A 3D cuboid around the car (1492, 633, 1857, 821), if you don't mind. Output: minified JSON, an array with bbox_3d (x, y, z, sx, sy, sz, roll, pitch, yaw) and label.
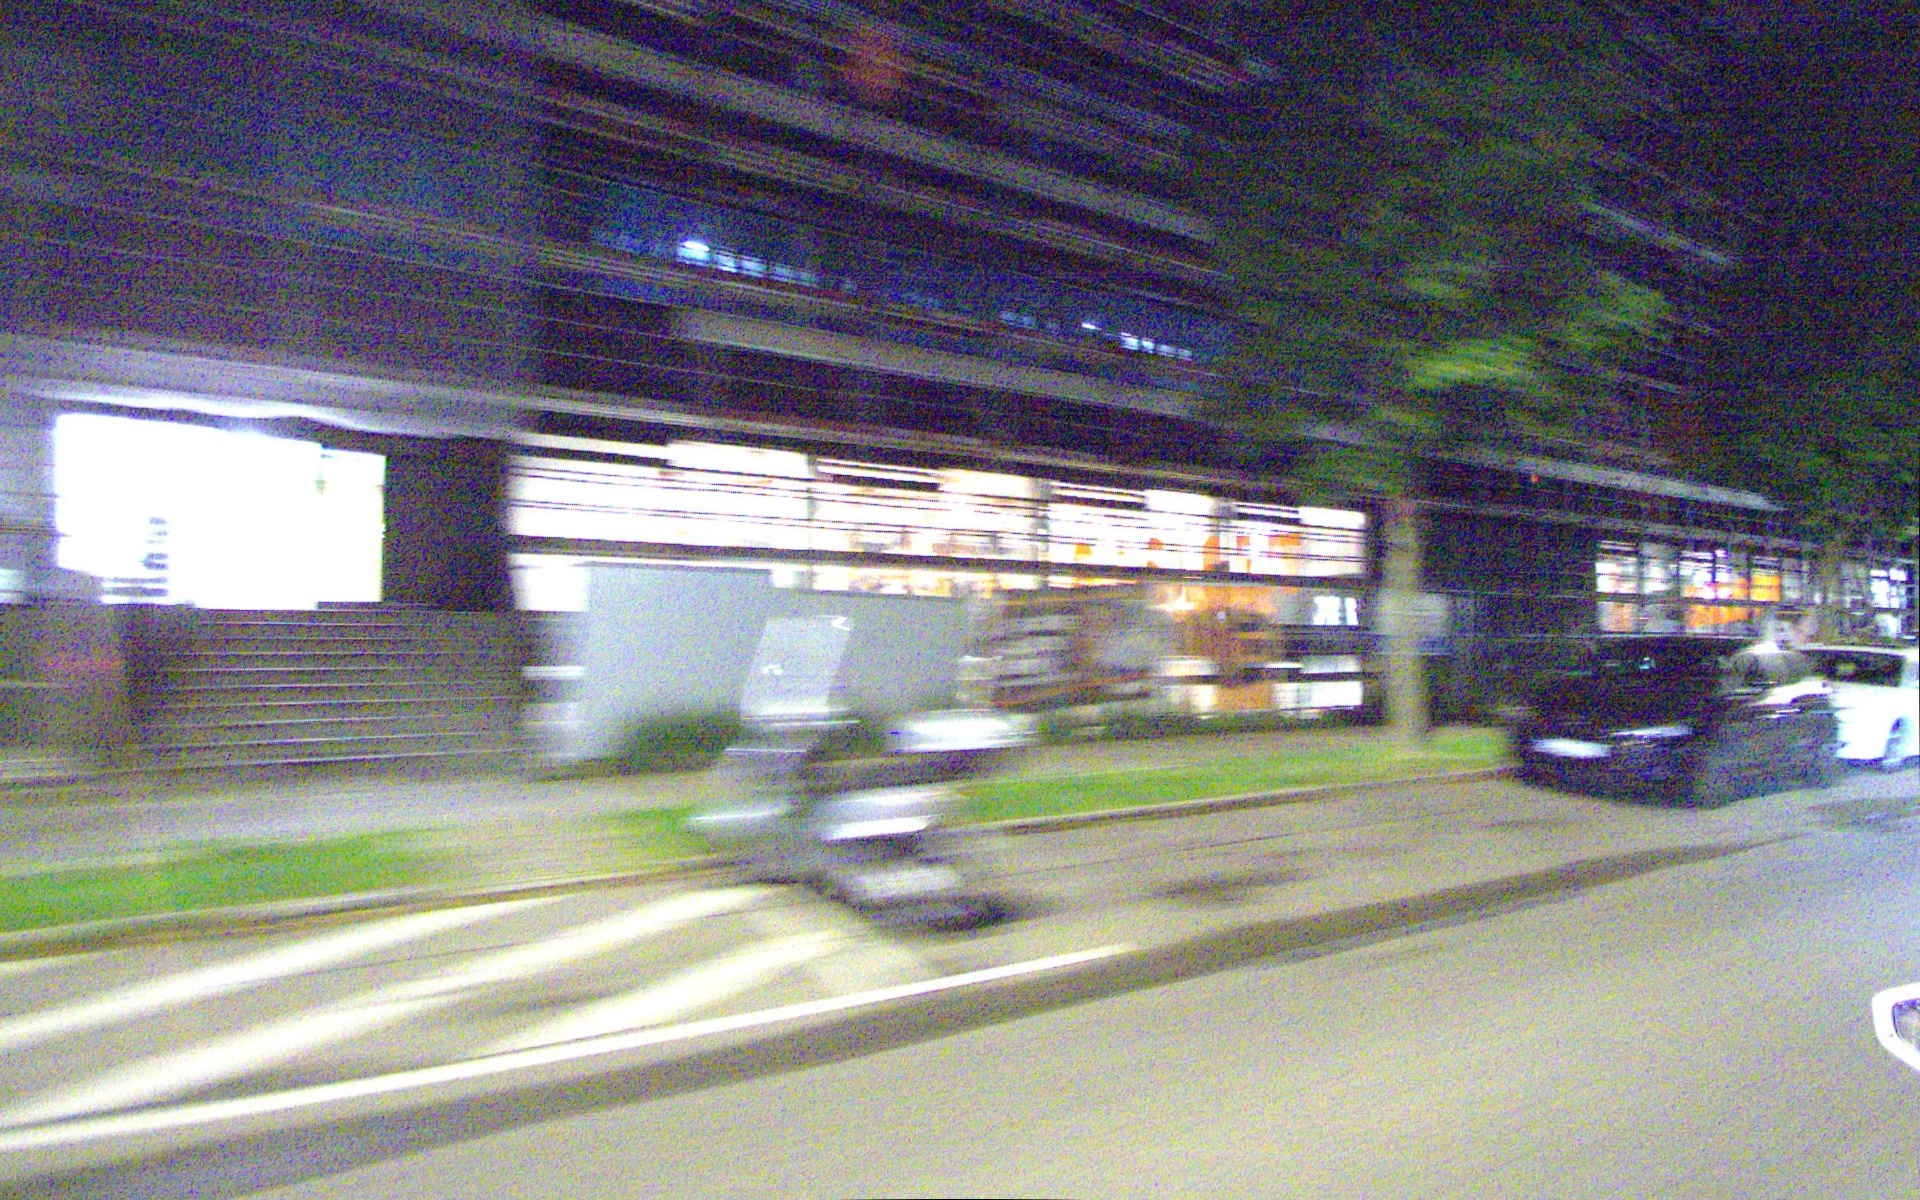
[{"bbox_3d":[7.328,1.132,10.229,3.859,1.524,1.634,1,0,-31],"label":"car"}]

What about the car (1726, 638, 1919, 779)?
[{"bbox_3d":[11.413,1.259,12.694,3.859,1.449,1.437,1,1,-31],"label":"car"}]

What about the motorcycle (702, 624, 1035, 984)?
[{"bbox_3d":[-0.554,0.941,5.388,1.880,1.570,0.636,1,0,41],"label":"motorcycle"}]

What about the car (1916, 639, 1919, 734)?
[{"bbox_3d":[16.596,1.366,15.730,3.330,1.475,1.540,1,0,-31],"label":"car"}]
